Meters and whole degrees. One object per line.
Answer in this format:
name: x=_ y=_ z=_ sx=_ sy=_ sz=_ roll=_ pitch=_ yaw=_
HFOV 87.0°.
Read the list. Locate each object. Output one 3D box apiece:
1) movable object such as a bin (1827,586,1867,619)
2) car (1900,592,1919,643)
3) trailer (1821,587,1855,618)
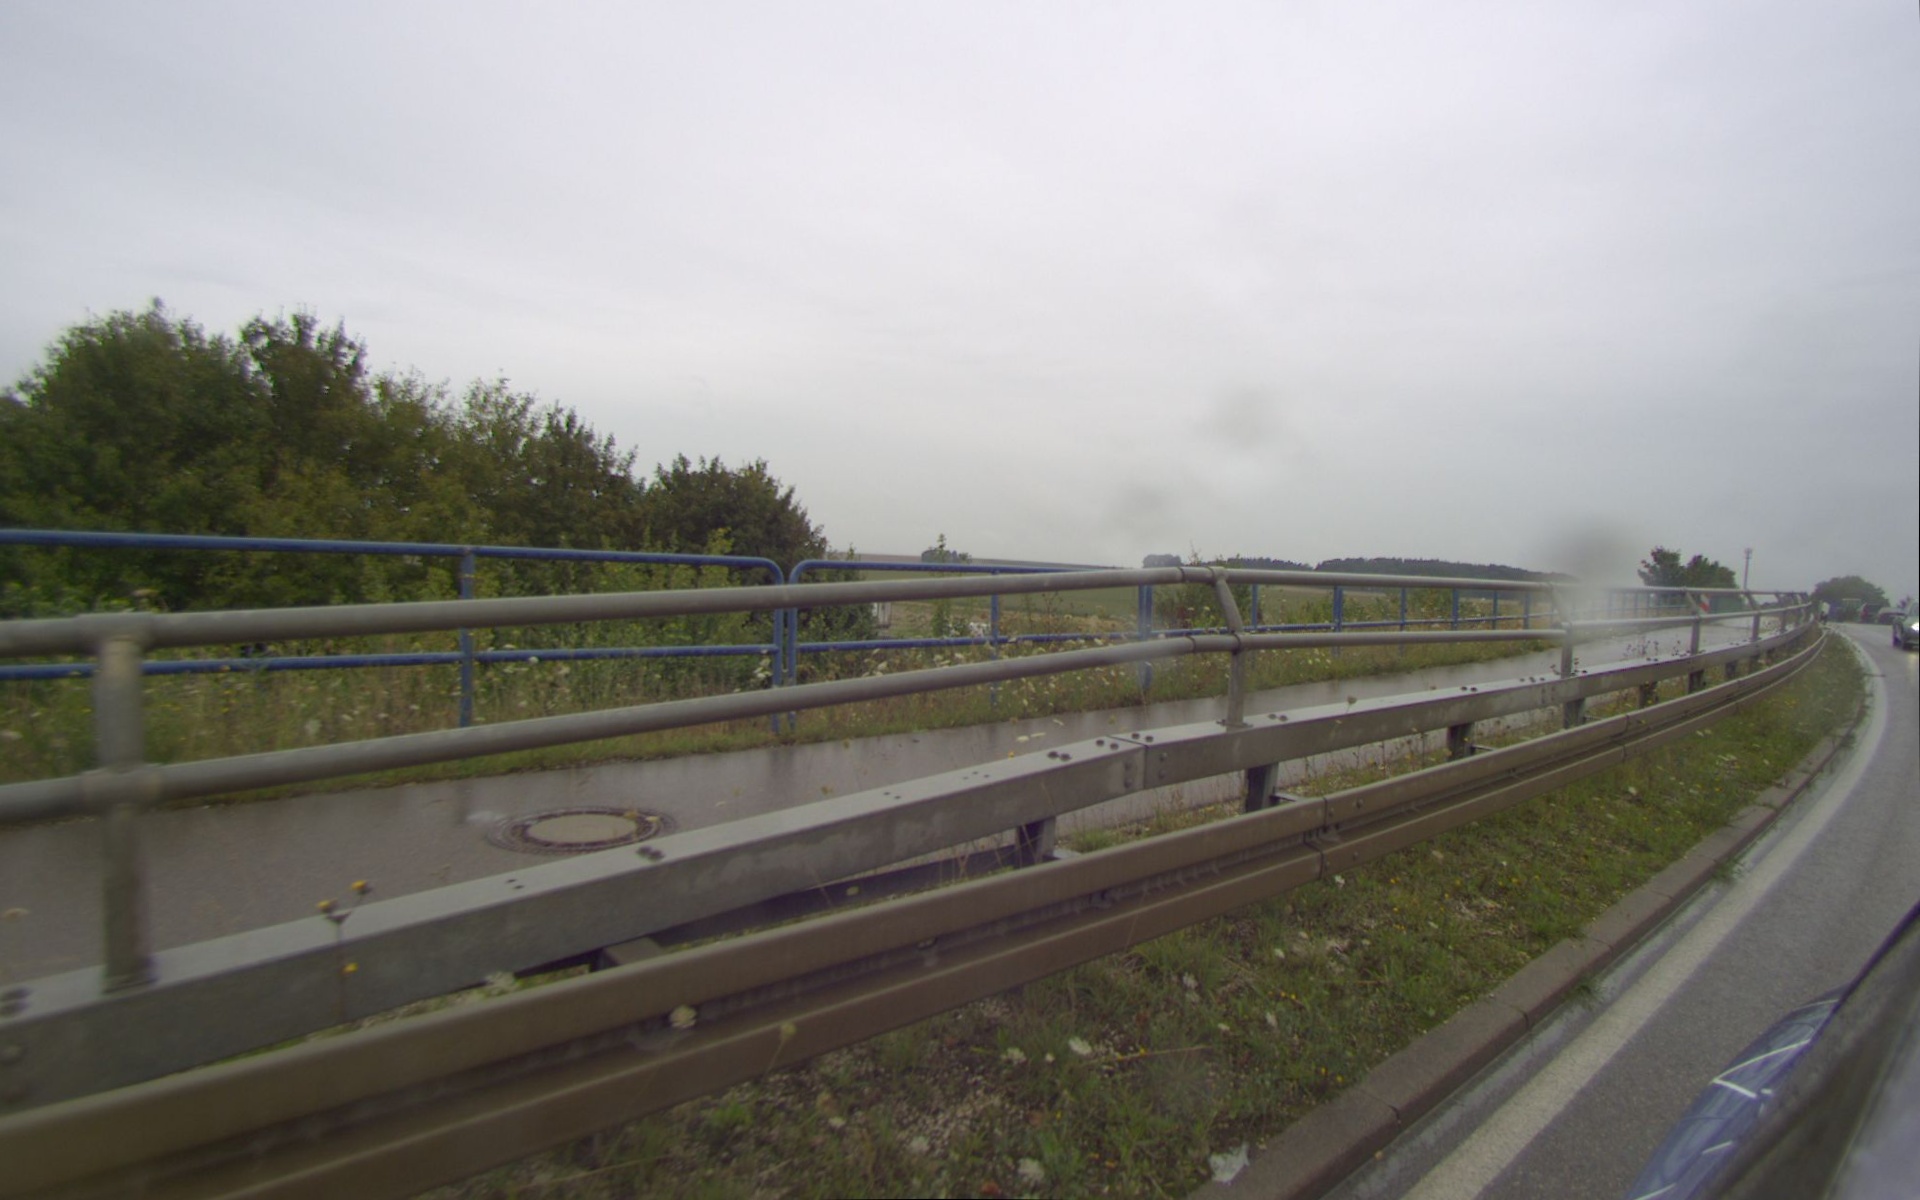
movable object such as a bin: x=98.671 y=0.277 z=112.662 sx=2.743 sy=3.487 sz=4.582 roll=5 pitch=3 yaw=36
car: x=28.648 y=0.496 z=29.311 sx=1.812 sy=1.408 sz=4.011 roll=1 pitch=1 yaw=39
trailer: x=125.073 y=0.352 z=144.343 sx=2.814 sy=4.019 sz=13.544 roll=4 pitch=2 yaw=38
